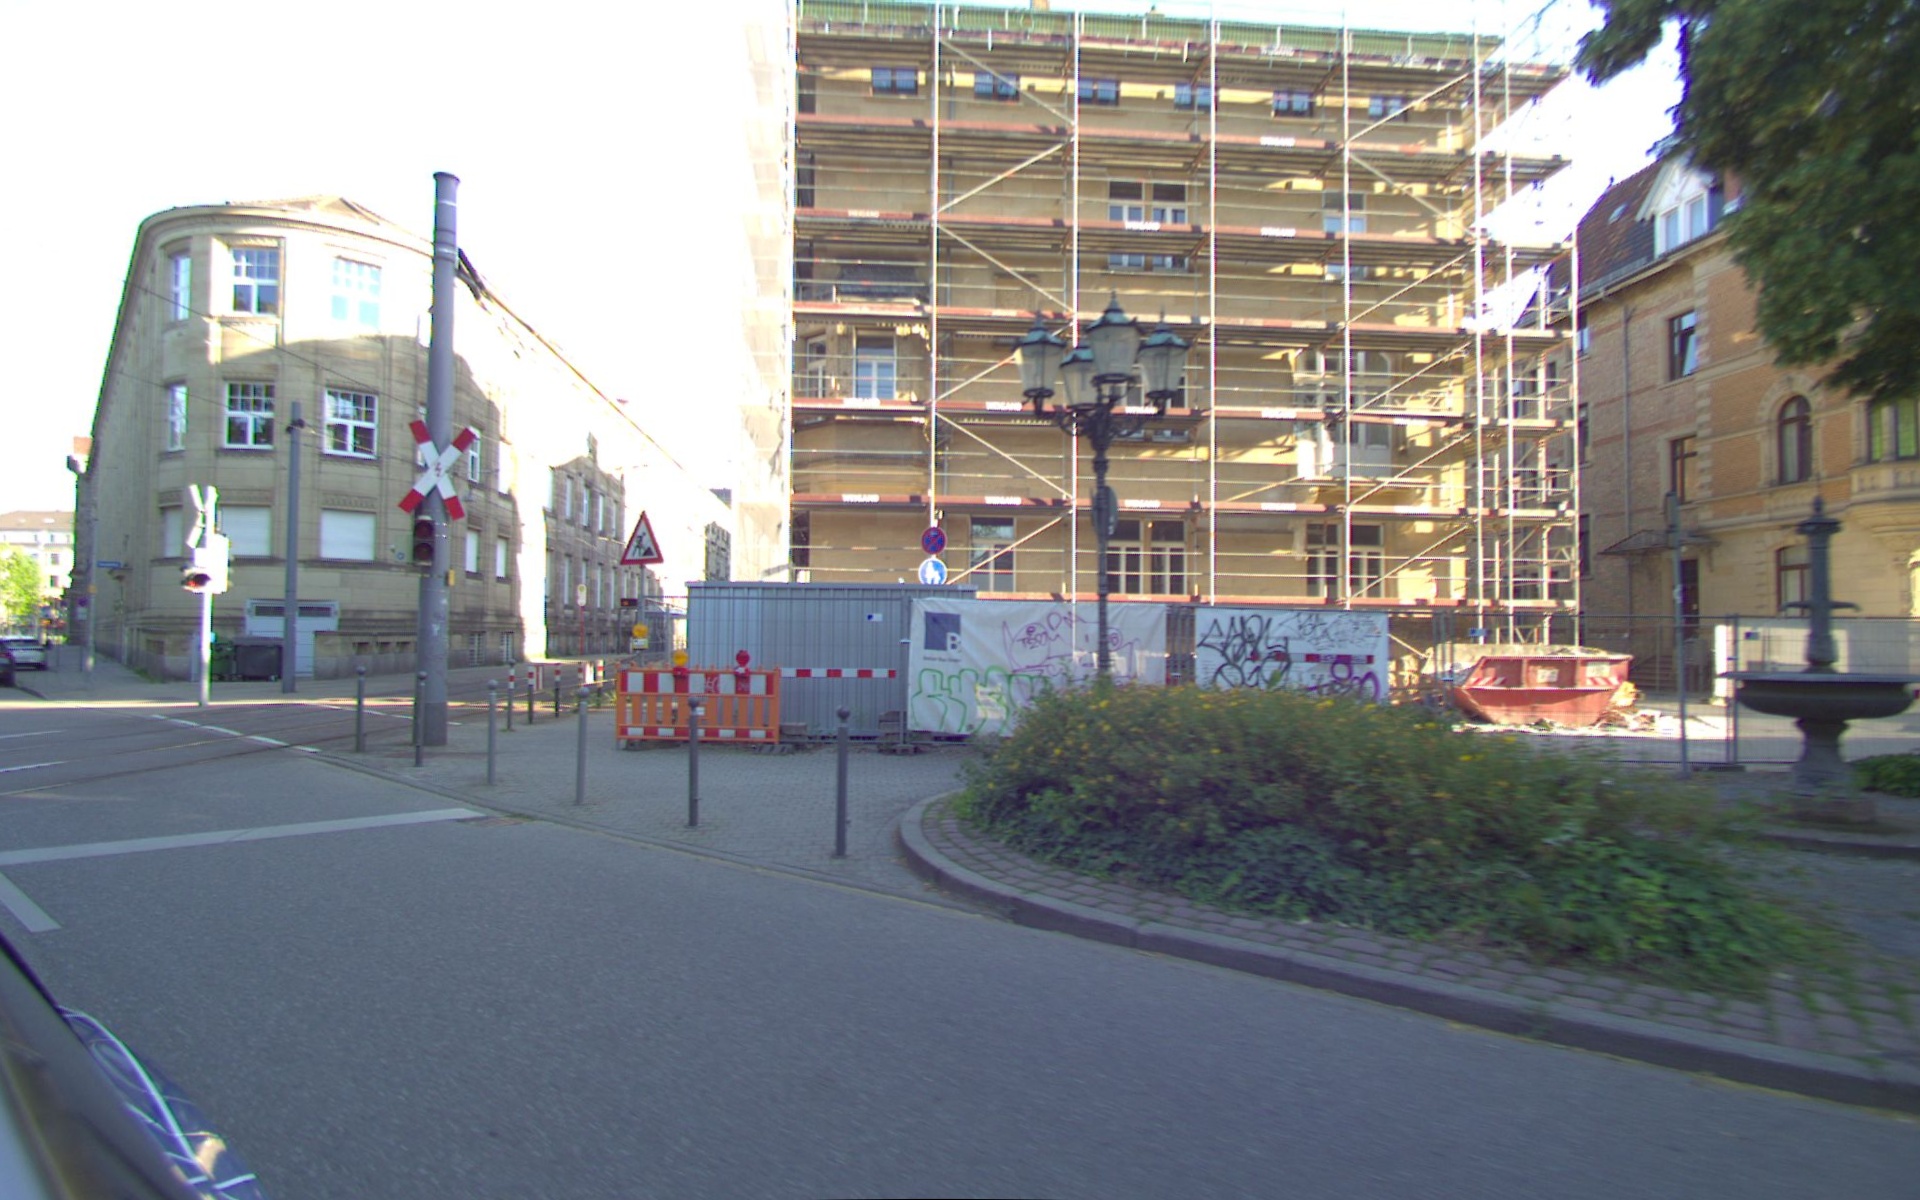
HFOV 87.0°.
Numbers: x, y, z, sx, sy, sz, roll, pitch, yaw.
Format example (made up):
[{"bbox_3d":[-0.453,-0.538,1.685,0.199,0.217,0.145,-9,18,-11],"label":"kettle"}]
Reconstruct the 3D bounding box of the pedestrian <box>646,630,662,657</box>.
[{"bbox_3d":[-20.715,2.946,68.556,0.742,1.850,0.821,0,-3,3],"label":"pedestrian"}]

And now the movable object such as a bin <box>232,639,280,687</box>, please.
[{"bbox_3d":[-22.140,1.965,31.817,1.167,1.439,1.926,2,-3,-36],"label":"movable object such as a bin"}]

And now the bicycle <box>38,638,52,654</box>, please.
[{"bbox_3d":[-68.381,3.440,75.649,0.450,1.218,1.883,2,-3,-34],"label":"bicycle"}]

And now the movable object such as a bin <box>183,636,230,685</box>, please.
[{"bbox_3d":[-23.757,1.896,31.938,1.131,1.497,1.631,2,-3,-36],"label":"movable object such as a bin"}]

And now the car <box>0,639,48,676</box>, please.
[{"bbox_3d":[-39.664,2.371,42.462,4.561,1.446,1.724,-2,-2,44],"label":"car"}]

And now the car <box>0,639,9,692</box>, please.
[{"bbox_3d":[-28.748,1.845,29.199,4.210,1.459,1.724,-2,-4,45],"label":"car"}]
